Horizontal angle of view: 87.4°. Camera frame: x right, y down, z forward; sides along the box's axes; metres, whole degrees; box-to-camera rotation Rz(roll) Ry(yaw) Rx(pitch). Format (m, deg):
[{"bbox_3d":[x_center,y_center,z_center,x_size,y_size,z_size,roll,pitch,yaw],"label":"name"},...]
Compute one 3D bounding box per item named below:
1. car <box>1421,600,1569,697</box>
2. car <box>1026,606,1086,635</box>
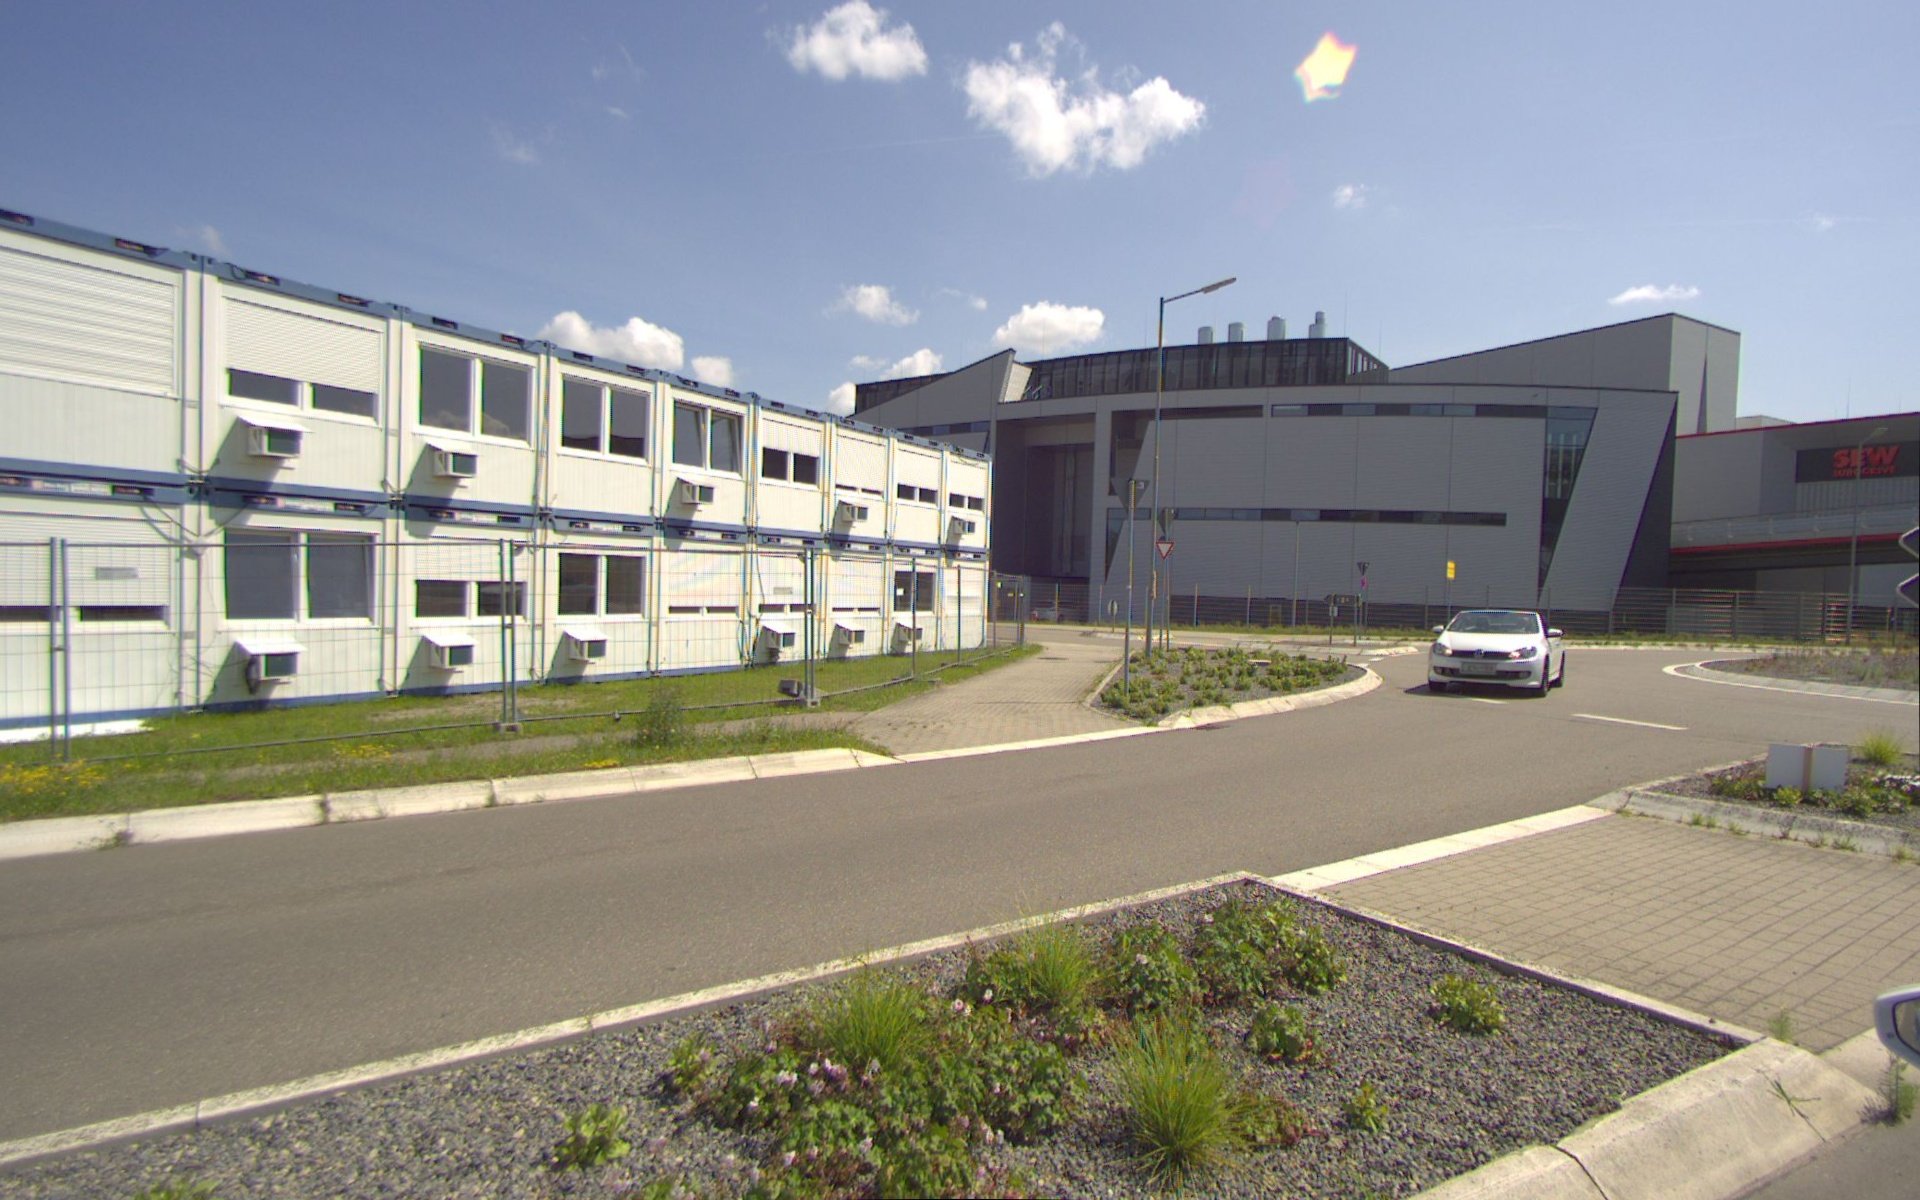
[{"bbox_3d":[9.416,0.785,17.524,1.746,1.447,4.038,2,0,36],"label":"car"},{"bbox_3d":[6.293,1.290,65.512,1.967,1.713,4.300,3,2,35],"label":"car"}]
